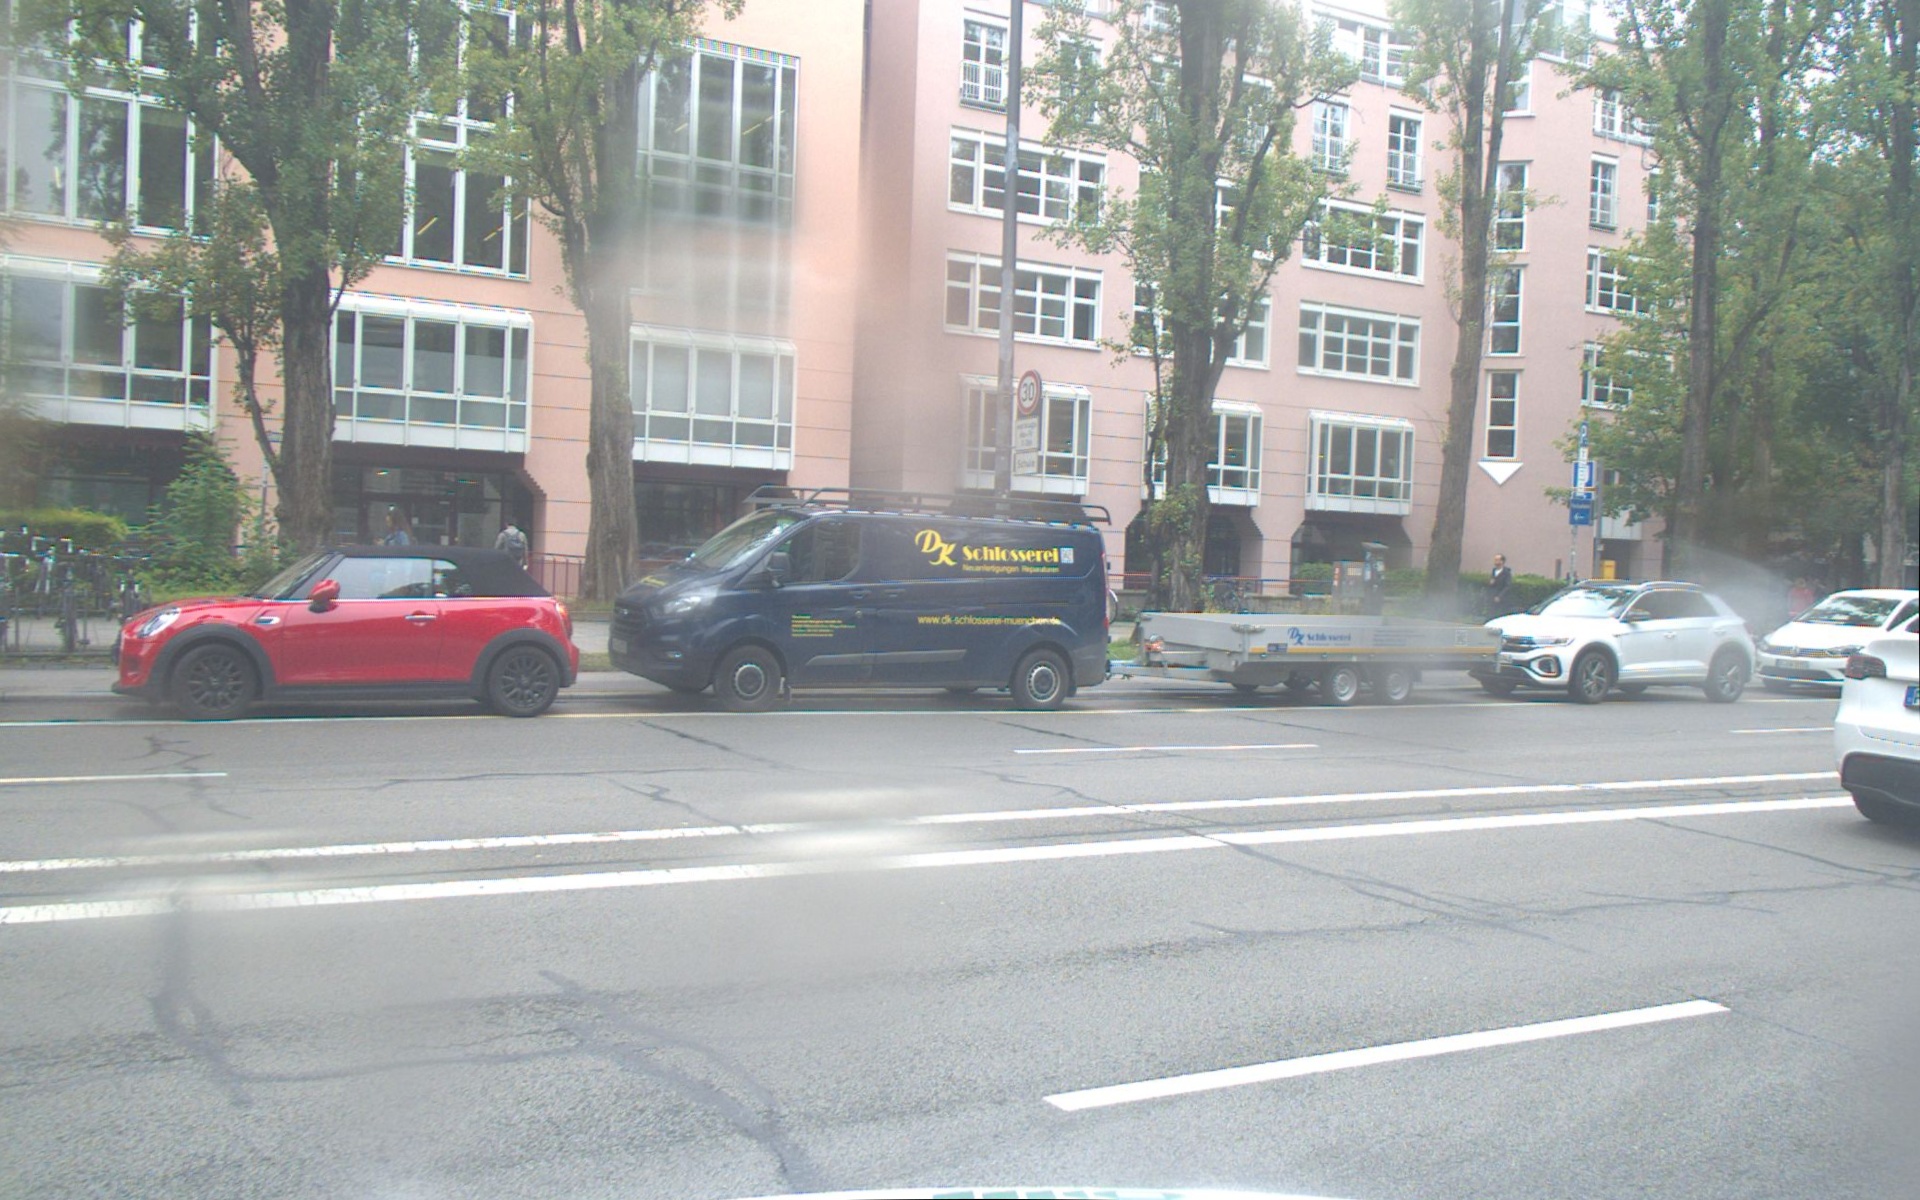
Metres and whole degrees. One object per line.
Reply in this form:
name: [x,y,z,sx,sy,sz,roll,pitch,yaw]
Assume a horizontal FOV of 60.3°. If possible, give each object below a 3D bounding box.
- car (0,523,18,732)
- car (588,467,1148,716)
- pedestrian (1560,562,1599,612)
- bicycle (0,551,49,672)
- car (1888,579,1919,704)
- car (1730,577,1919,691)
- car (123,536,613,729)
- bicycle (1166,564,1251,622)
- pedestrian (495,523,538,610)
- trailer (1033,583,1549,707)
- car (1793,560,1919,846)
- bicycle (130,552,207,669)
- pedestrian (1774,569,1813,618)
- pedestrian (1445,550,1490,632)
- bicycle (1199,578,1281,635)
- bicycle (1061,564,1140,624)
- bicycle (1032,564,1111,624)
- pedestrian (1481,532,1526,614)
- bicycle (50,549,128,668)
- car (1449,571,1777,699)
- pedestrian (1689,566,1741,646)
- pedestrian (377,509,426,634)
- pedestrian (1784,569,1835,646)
car: [-9.552,0.136,12.088,4.557,1.555,1.777,1,2,-29]
car: [-0.881,-0.076,17.054,5.418,2.235,2.005,1,2,-29]
pedestrian: [21.456,-0.440,57.299,0.884,1.690,0.810,1,1,-28]
bicycle: [-9.704,0.089,16.876,0.666,1.144,1.726,1,2,-28]
car: [15.198,0.601,22.946,4.486,1.671,1.981,1,1,-29]
car: [14.174,0.507,25.638,4.266,1.568,1.980,1,2,-31]
car: [-5.121,0.258,14.412,3.814,1.474,1.664,1,2,-27]
bicycle: [5.295,-0.162,35.390,0.666,1.144,2.088,1,2,-28]
pedestrian: [-9.115,-0.688,33.966,0.698,1.743,0.726,1,1,-26]
trailer: [4.036,0.509,19.873,5.951,1.220,2.383,1,2,-29]
car: [7.607,0.658,10.398,4.573,1.602,1.982,1,3,-30]
bicycle: [-8.422,0.085,17.565,0.666,1.144,1.714,1,2,-28]
pedestrian: [29.186,-0.230,57.908,0.884,1.690,0.810,1,1,-28]
pedestrian: [10.321,-0.185,33.622,0.644,1.632,0.558,2,1,-9]
bicycle: [6.083,0.126,36.022,0.666,1.144,1.971,1,2,-28]
bicycle: [2.920,-0.138,34.554,0.666,1.144,1.971,1,2,-28]
bicycle: [2.293,-0.141,34.209,0.666,1.144,1.971,1,2,-28]
pedestrian: [11.074,-0.549,33.705,0.644,1.632,0.558,2,1,-9]
bicycle: [-9.058,0.062,17.214,0.666,1.144,1.726,1,2,-28]
car: [8.762,0.443,22.152,4.170,1.568,1.791,1,1,-27]
pedestrian: [16.836,0.133,36.904,0.721,1.743,0.703,1,1,-28]
pedestrian: [-7.716,-0.392,22.853,0.550,1.692,0.616,1,2,-25]
pedestrian: [19.818,0.176,38.587,0.721,1.743,0.703,1,1,-28]
